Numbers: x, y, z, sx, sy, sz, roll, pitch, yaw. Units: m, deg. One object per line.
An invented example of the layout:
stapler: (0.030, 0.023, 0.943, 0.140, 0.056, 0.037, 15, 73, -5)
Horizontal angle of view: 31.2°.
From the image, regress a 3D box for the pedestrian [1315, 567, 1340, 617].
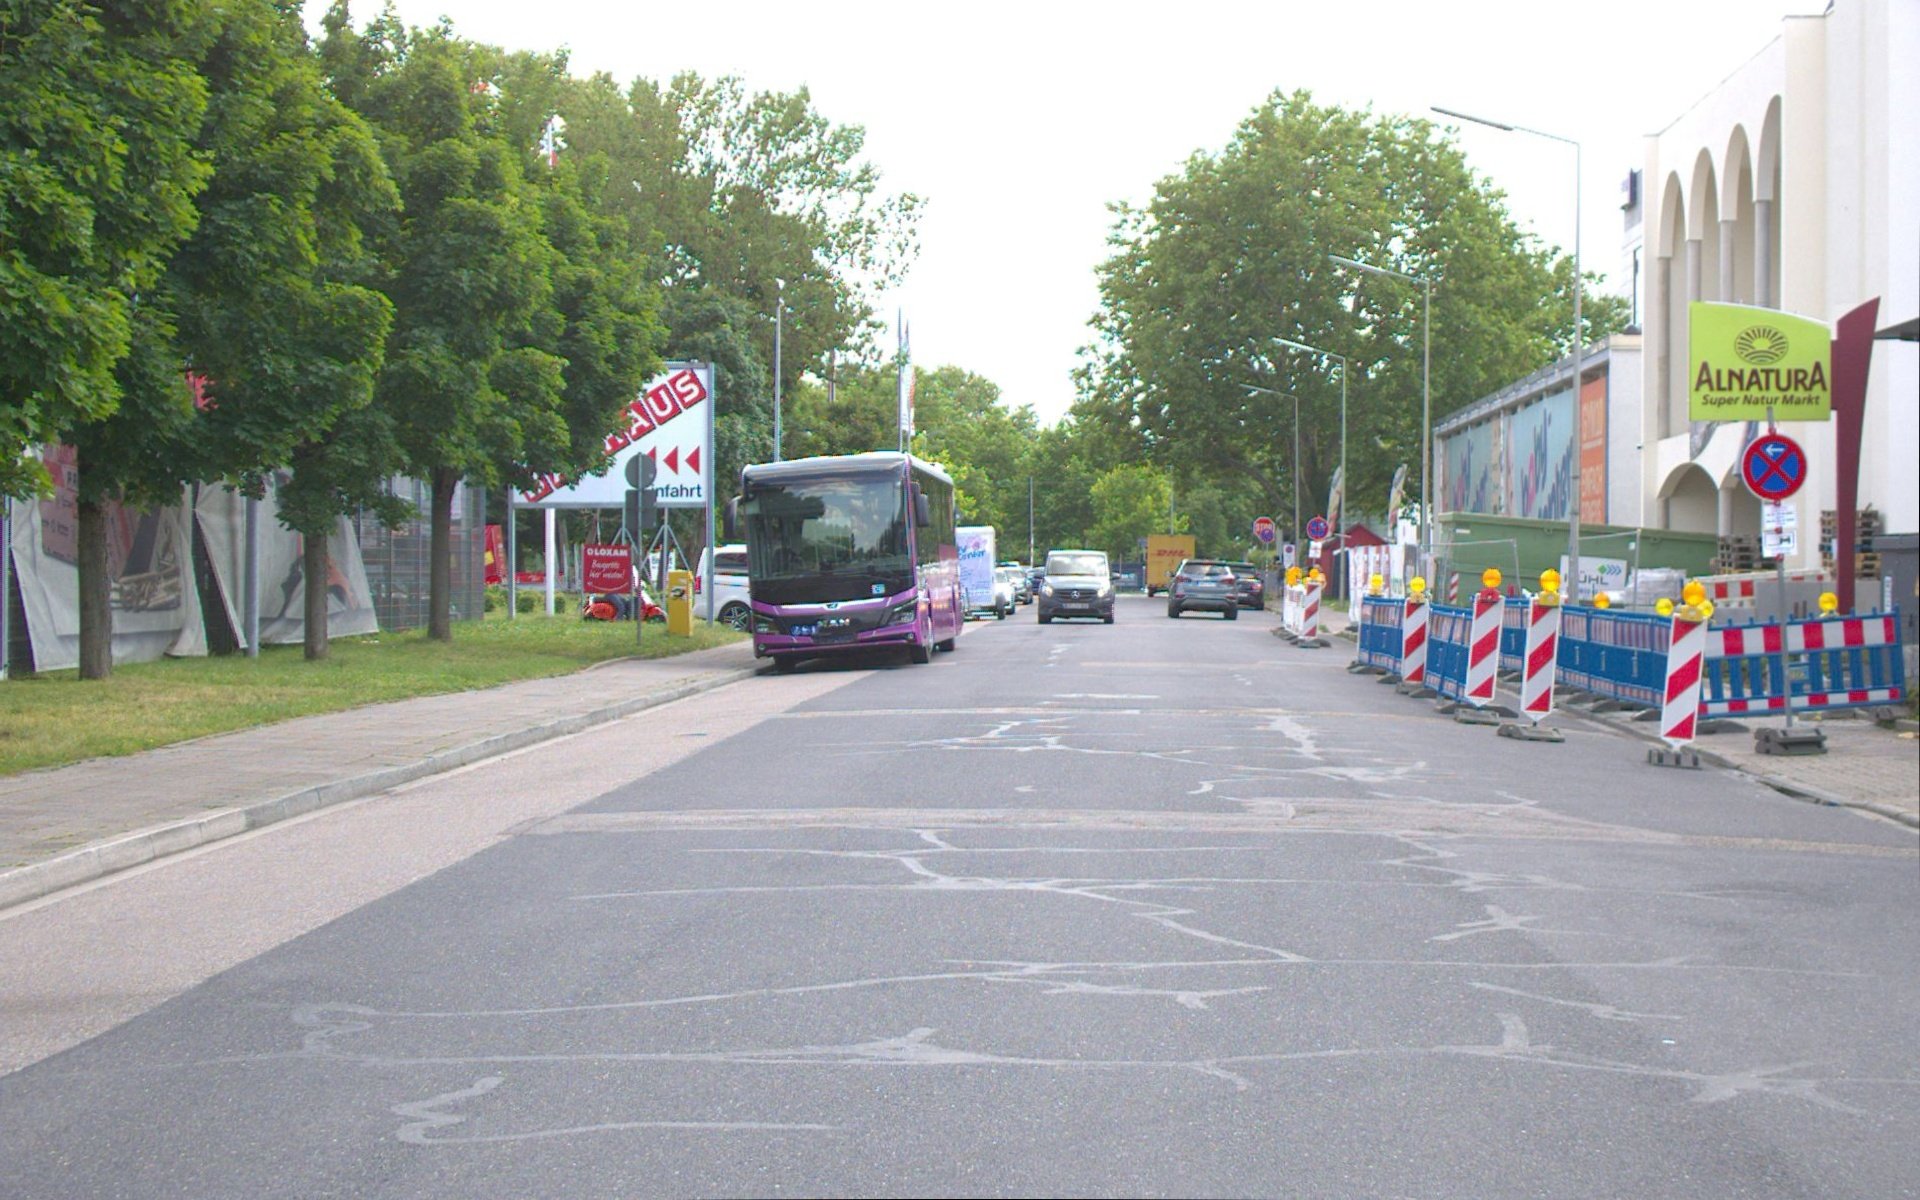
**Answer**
pedestrian: (11.246, -0.245, 105.263, 0.681, 1.528, 1.130, 1, 0, 3)

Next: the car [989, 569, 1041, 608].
car: (2.137, -0.451, 132.683, 1.710, 1.415, 4.330, -2, 0, 4)

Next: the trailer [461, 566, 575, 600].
trailer: (-16.186, -0.617, 125.921, 3.818, 1.186, 1.714, 1, 1, 9)

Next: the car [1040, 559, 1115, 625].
car: (3.009, -0.224, 88.052, 1.868, 1.624, 4.127, 0, 1, 2)

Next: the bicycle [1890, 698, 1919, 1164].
bicycle: (2.825, 0.867, 7.750, 0.798, 1.176, 2.626, 2, 0, 2)

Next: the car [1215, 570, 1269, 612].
car: (10.006, -0.328, 122.187, 1.808, 1.386, 4.587, 3, 1, 4)

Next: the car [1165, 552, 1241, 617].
car: (6.943, -0.472, 98.641, 1.962, 1.809, 4.275, 0, 1, 1)

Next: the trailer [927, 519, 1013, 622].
trailer: (0.307, -0.834, 97.142, 2.139, 2.774, 4.703, -2, 1, 3)

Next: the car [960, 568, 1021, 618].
car: (0.973, -0.241, 107.863, 1.765, 1.474, 4.235, -2, 1, 2)

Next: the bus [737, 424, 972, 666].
bus: (-1.539, -0.869, 57.254, 2.663, 3.411, 13.217, -3, 0, 3)

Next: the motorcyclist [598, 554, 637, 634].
motorcyclist: (-7.403, -0.138, 74.258, 0.674, 1.717, 0.994, 0, 0, 4)

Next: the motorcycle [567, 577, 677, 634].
motorcycle: (-7.288, 0.118, 74.247, 2.221, 1.209, 0.994, 0, 0, 4)

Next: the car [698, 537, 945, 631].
car: (-2.943, -0.362, 73.612, 5.002, 1.942, 1.991, 1, 1, 9)

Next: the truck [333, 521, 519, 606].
truck: (-16.947, -1.163, 109.251, 5.548, 2.585, 1.779, 1, -1, 4)

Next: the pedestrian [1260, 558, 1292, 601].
pedestrian: (13.697, -0.901, 148.885, 1.000, 1.843, 1.230, 1, 0, -15)

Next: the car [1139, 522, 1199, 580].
car: (9.468, -2.231, 156.228, 2.198, 2.569, 6.405, 0, 1, -1)
